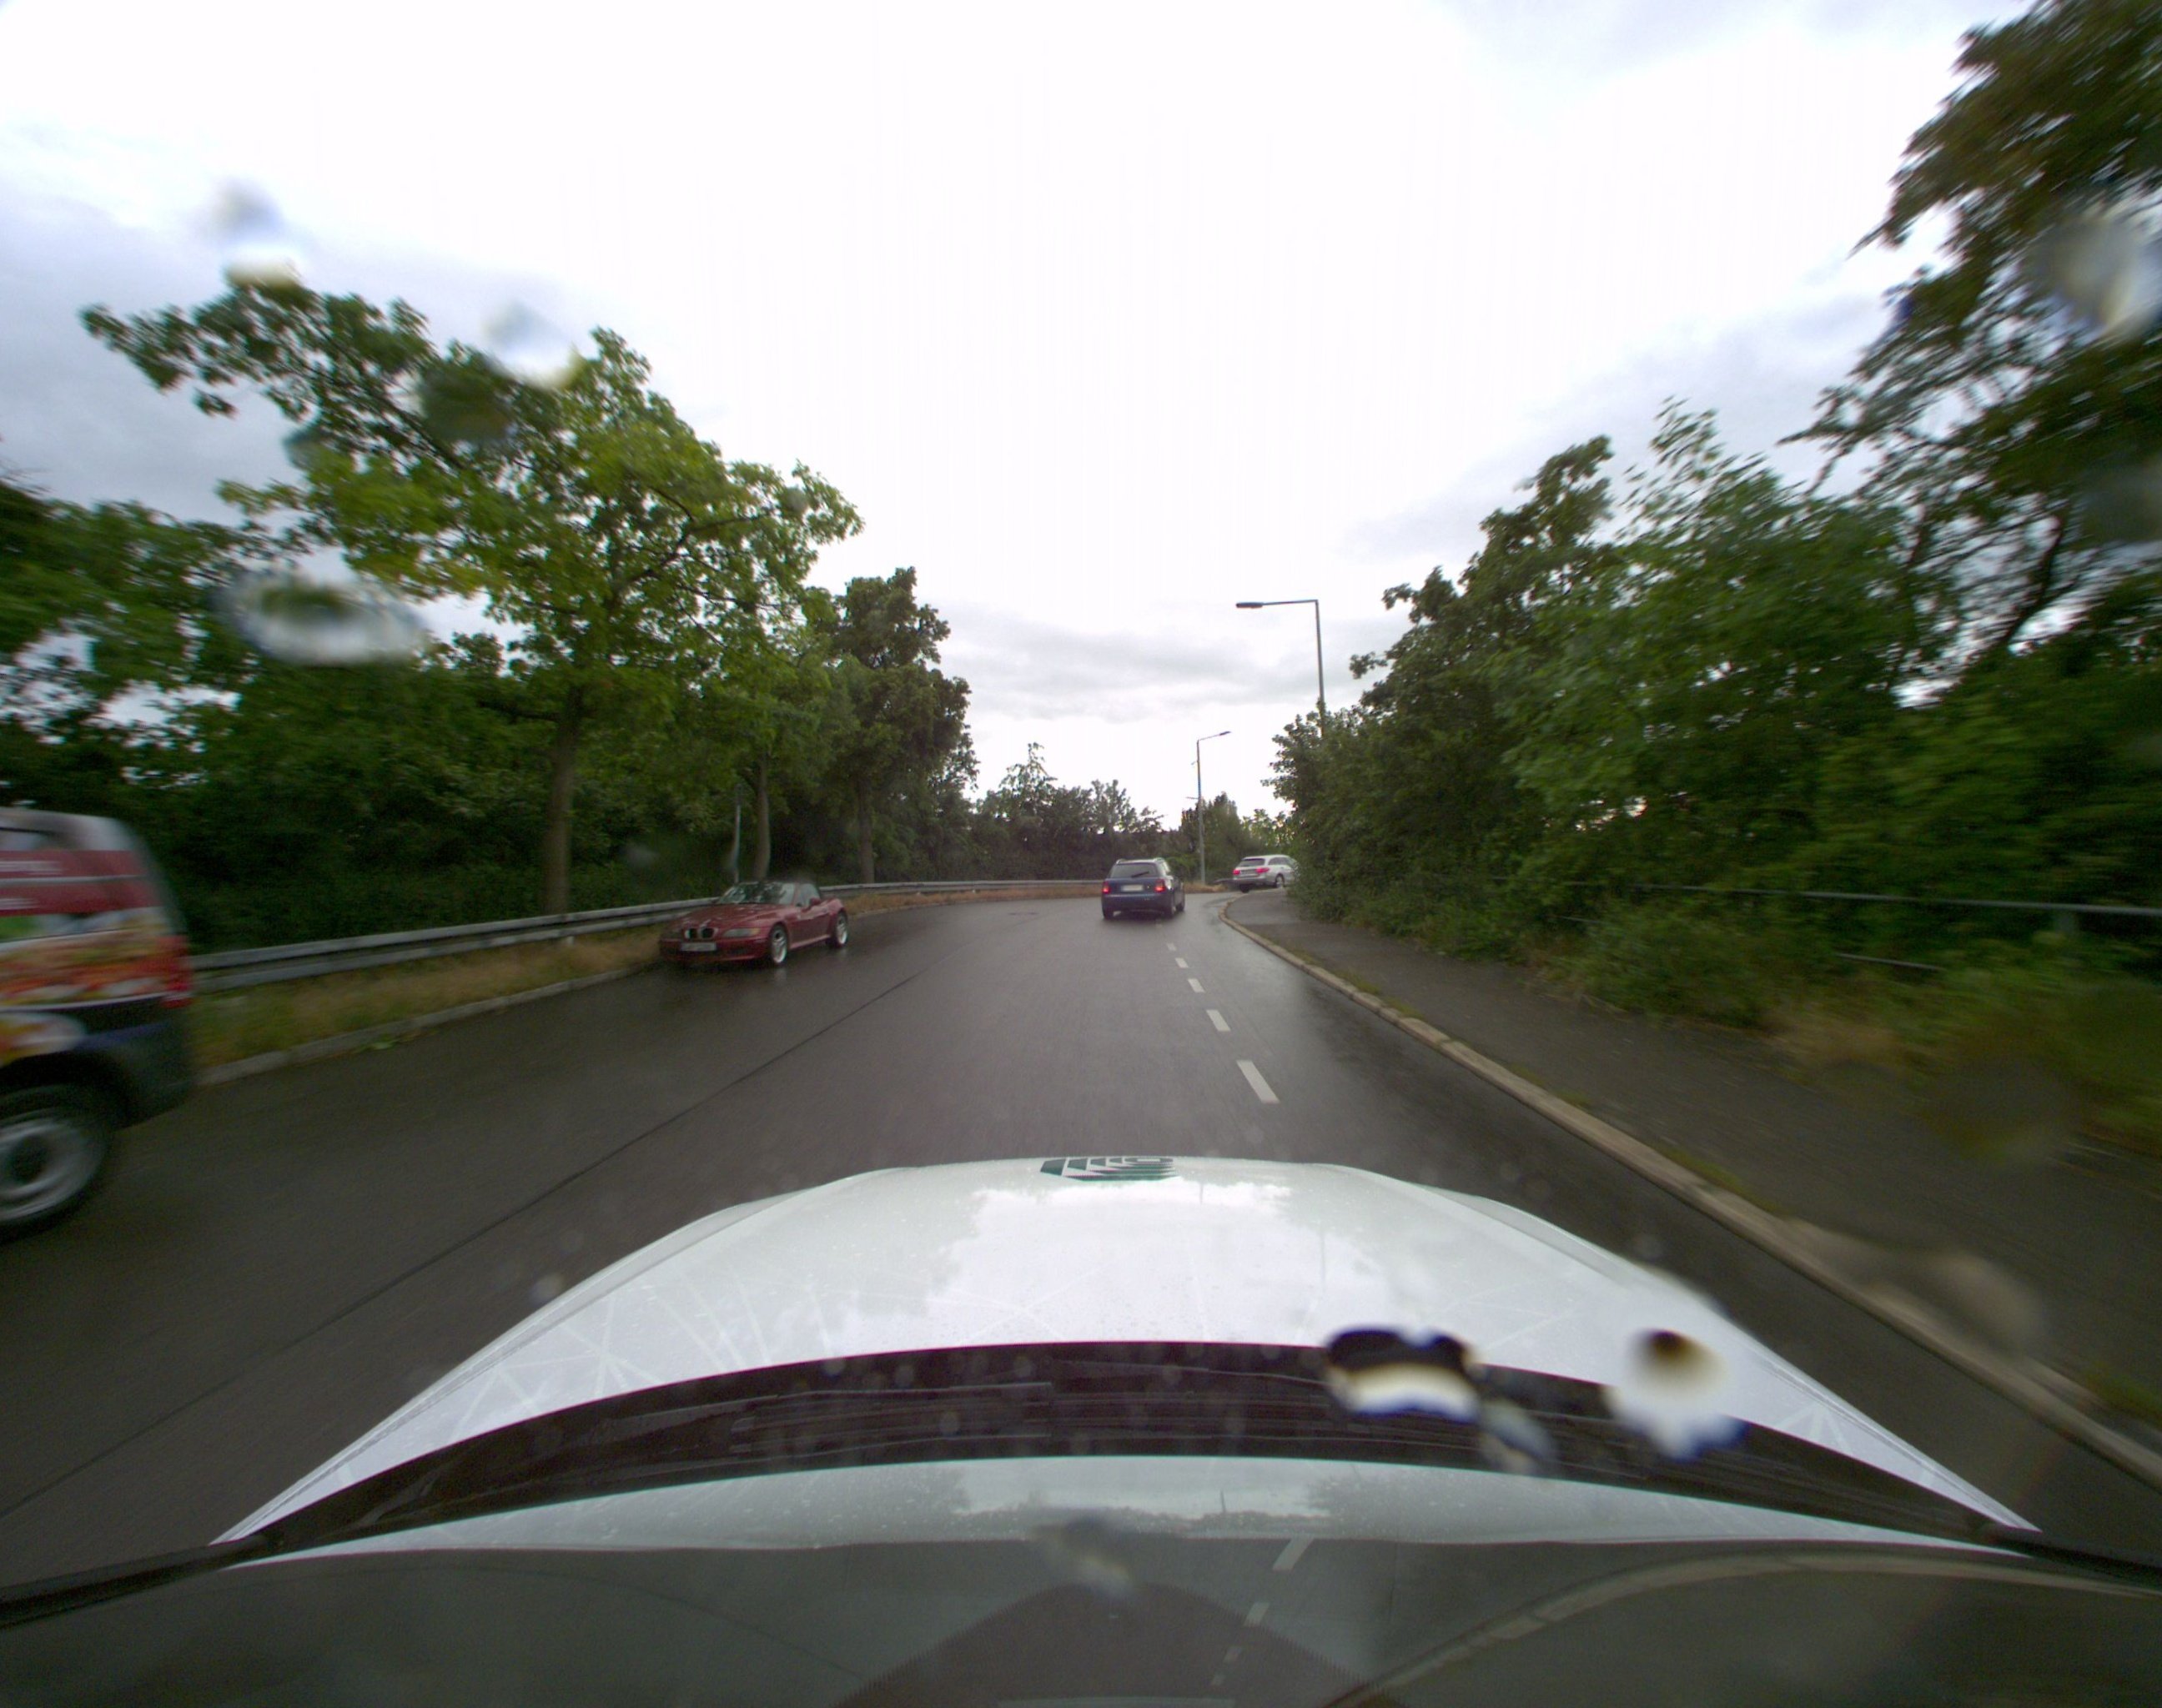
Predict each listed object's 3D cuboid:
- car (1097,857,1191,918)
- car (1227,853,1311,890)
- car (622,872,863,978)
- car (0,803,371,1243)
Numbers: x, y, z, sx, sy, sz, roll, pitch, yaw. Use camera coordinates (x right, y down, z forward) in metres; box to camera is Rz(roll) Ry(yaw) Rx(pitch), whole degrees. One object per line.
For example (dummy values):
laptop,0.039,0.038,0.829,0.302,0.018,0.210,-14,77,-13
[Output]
car,1.723,0.802,21.050,1.734,1.407,4.015,-1,0,14
car,7.812,0.685,33.605,1.872,1.389,4.026,-3,-1,37
car,-5.191,1.020,13.222,1.781,1.297,4.331,-2,-1,4
car,-5.584,0.730,2.372,2.075,1.819,5.385,-2,-1,3
